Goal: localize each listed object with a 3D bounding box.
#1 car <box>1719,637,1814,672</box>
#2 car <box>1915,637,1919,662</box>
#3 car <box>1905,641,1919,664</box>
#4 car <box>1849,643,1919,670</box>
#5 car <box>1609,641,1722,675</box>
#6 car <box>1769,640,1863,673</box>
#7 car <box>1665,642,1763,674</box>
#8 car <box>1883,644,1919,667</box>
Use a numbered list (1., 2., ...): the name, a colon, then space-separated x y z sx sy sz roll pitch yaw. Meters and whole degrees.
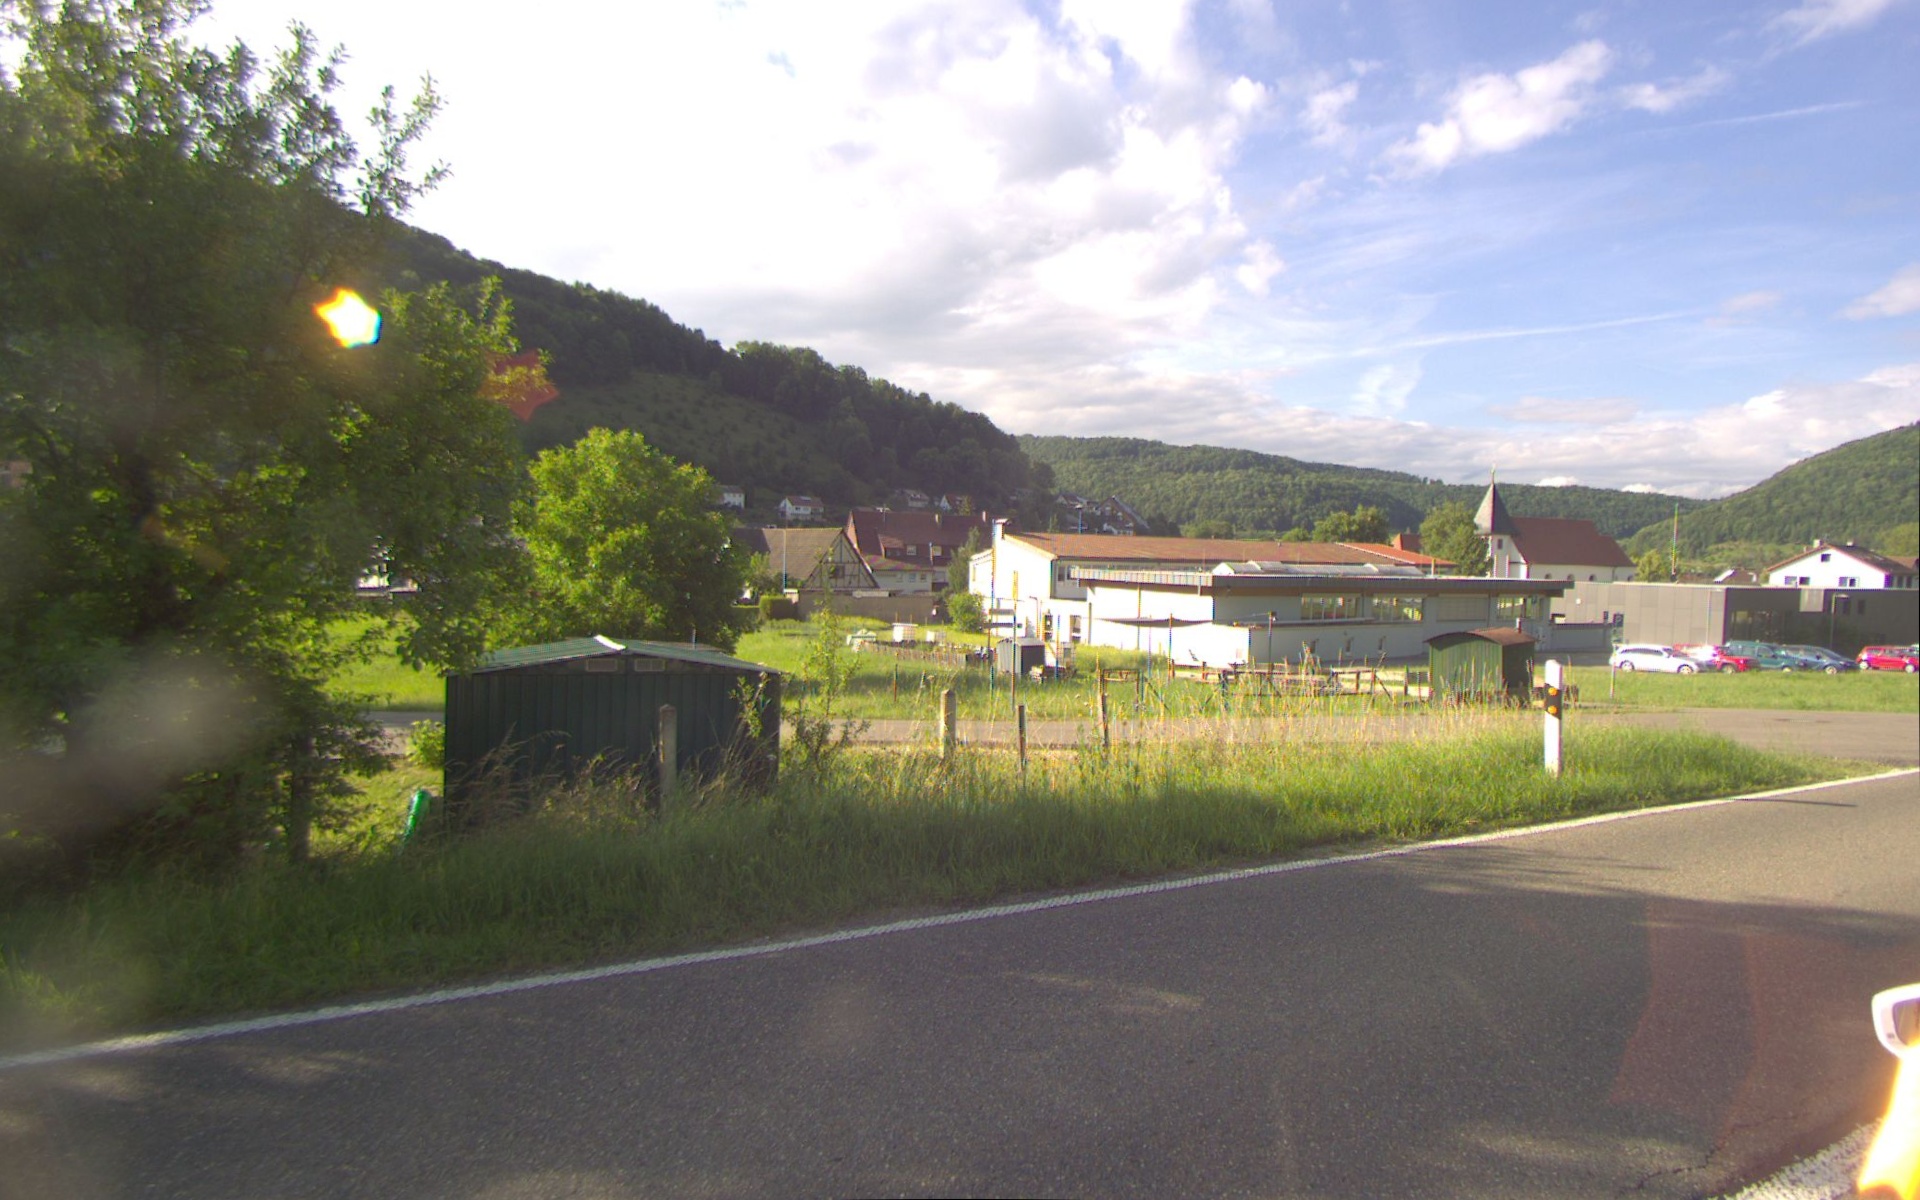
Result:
1. car: 45.502 3.043 56.741 1.734 1.745 3.846 2 0 -28
2. car: 67.925 3.403 68.279 1.575 1.695 4.065 0 -1 -25
3. car: 65.765 3.554 67.029 1.575 1.513 3.656 1 -1 -25
4. car: 58.574 3.542 63.230 1.626 1.463 3.614 0 1 -25
5. car: 37.600 3.058 53.669 1.974 1.610 4.626 2 -1 -26
6. car: 49.765 3.270 58.459 1.709 1.744 3.806 1 -1 -26
7. car: 40.619 3.098 54.193 1.732 1.600 3.907 2 -1 -26
8. car: 62.845 3.643 65.450 1.575 1.423 3.614 4 -3 -25
